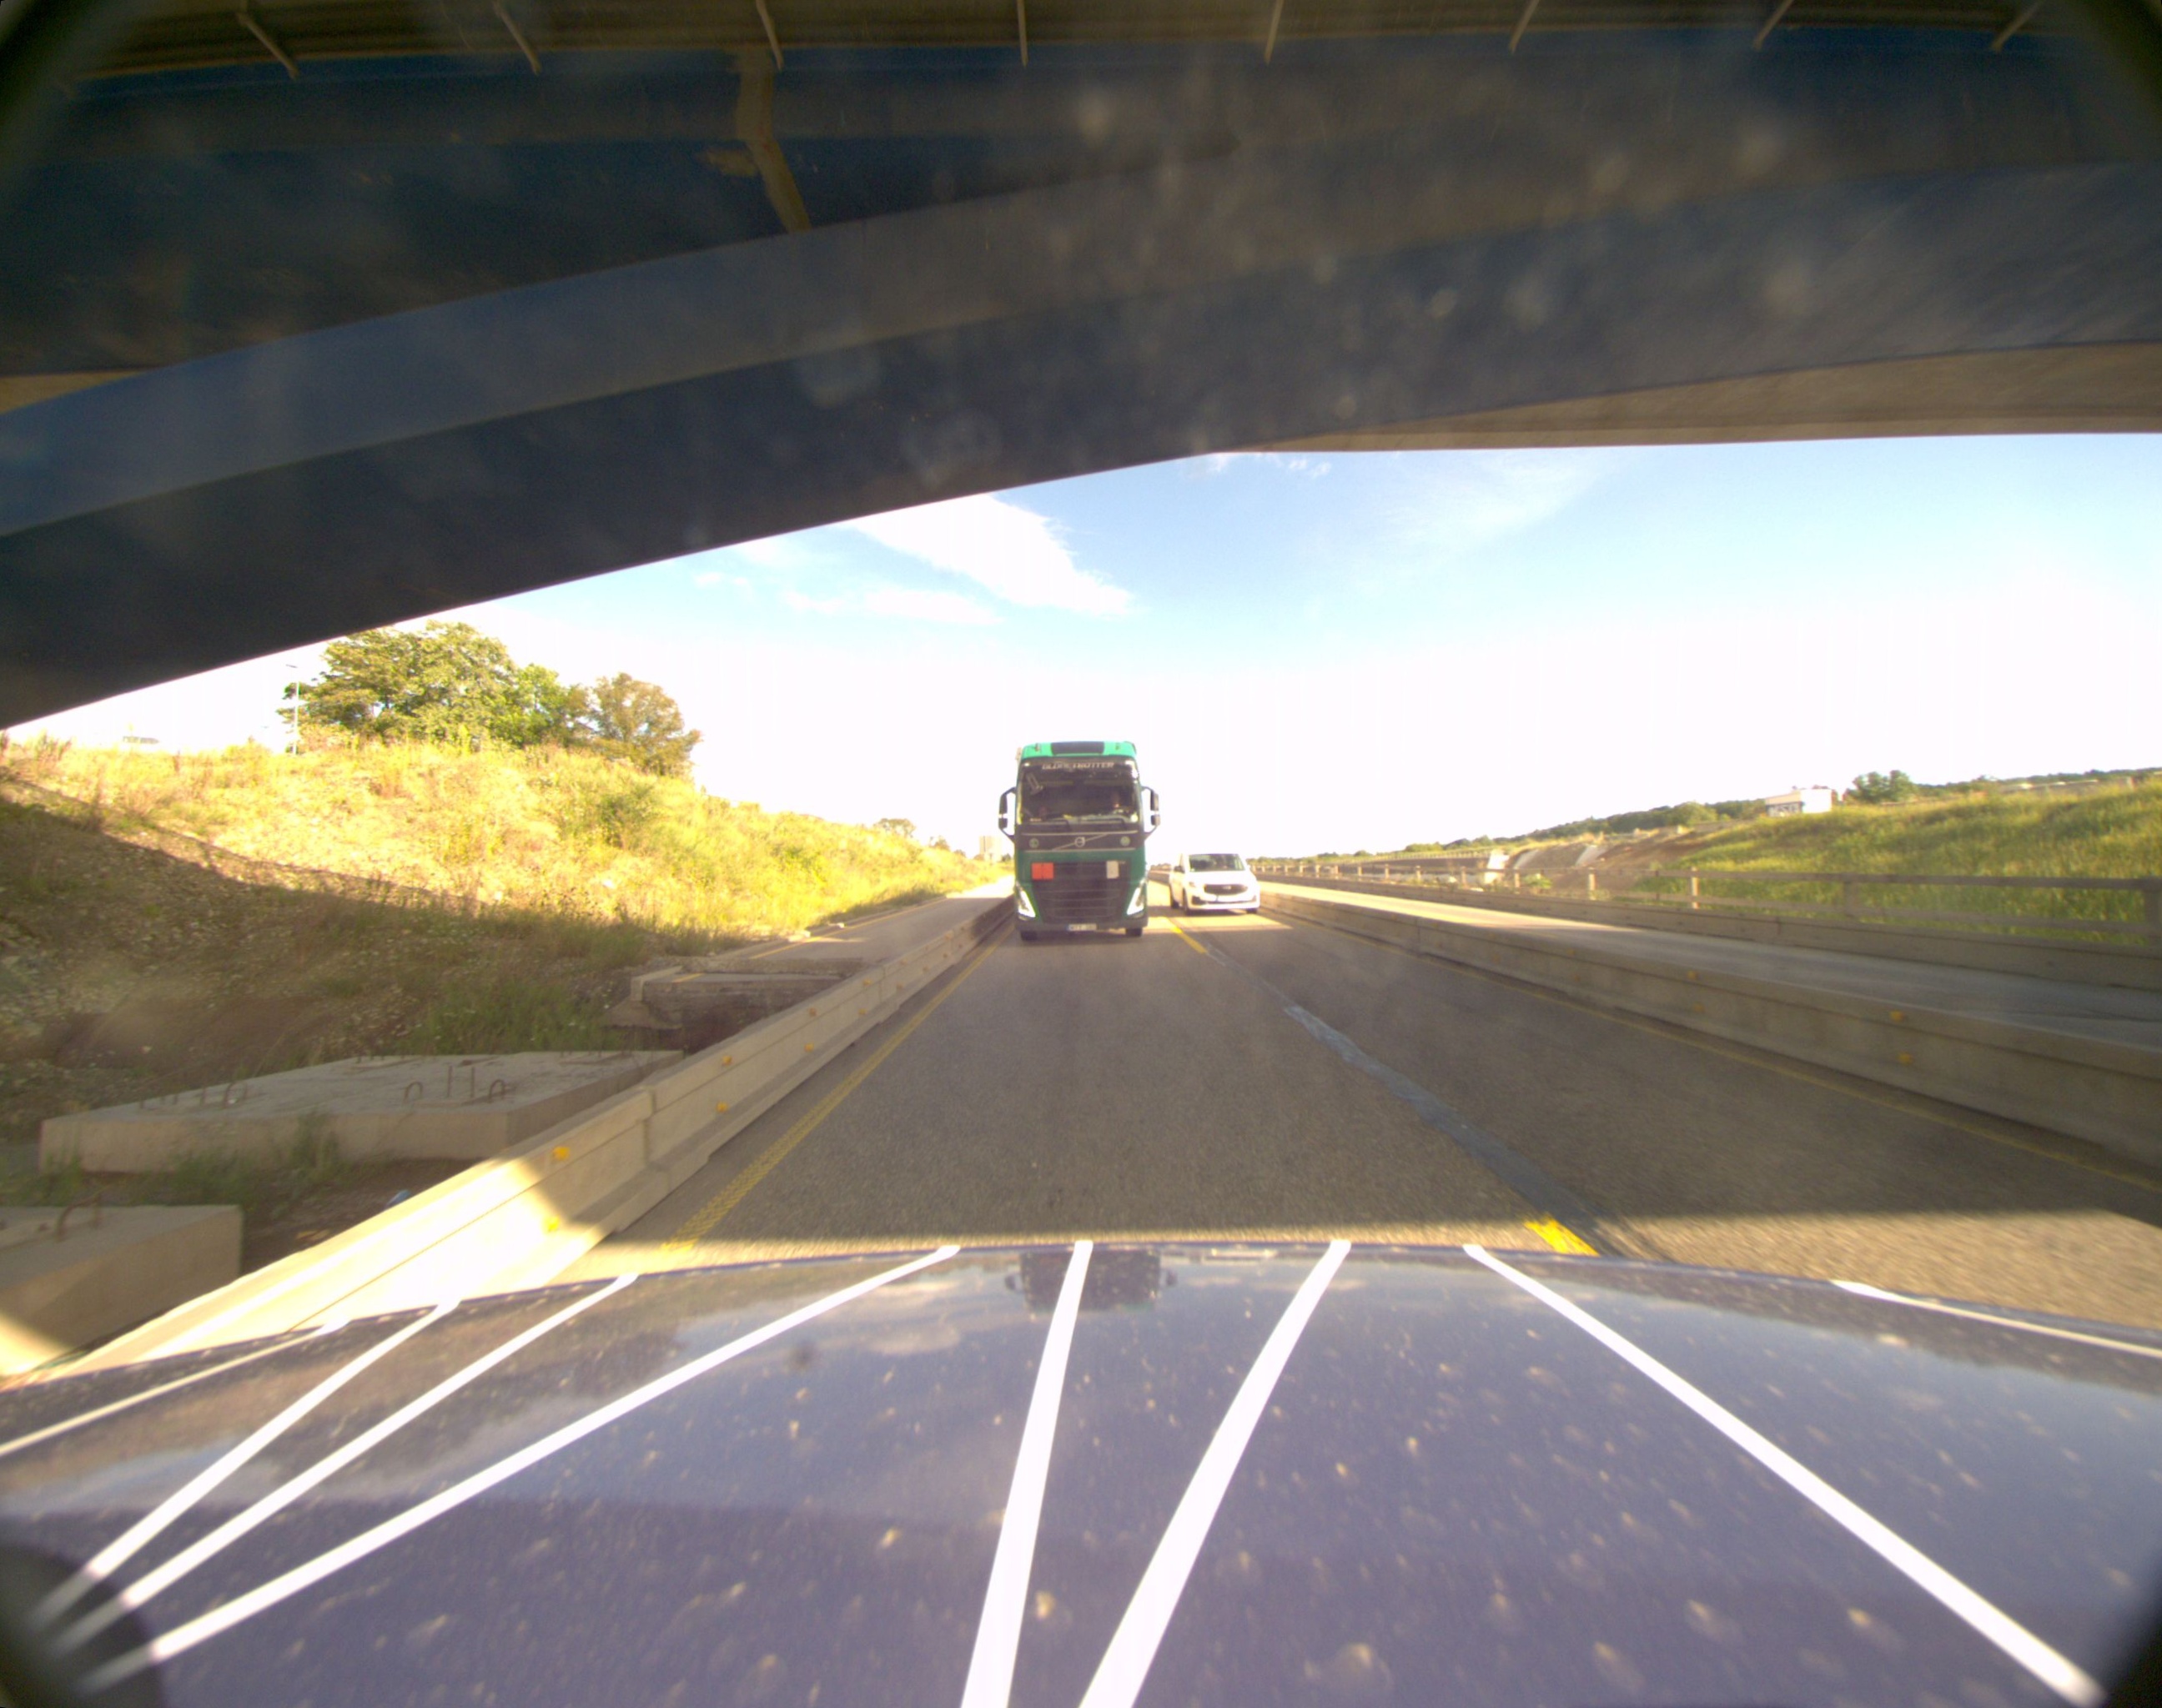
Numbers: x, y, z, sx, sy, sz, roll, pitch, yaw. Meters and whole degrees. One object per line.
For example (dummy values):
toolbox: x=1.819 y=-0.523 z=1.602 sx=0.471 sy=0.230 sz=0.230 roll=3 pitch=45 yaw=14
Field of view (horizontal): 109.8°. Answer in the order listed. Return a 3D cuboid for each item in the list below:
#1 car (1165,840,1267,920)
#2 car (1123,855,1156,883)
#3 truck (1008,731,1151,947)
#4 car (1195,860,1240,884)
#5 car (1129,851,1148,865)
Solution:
car: x=3.460 y=0.630 z=20.321 sx=1.828 sy=1.813 sz=4.456 roll=-3 pitch=0 yaw=-1
car: x=3.370 y=0.830 z=44.434 sx=1.719 sy=1.499 sz=4.000 roll=-2 pitch=0 yaw=2
truck: x=-0.075 y=-0.290 z=18.128 sx=2.546 sy=3.899 sz=8.278 roll=-1 pitch=0 yaw=-1
car: x=7.162 y=0.909 z=40.316 sx=1.672 sy=1.149 sz=4.218 roll=1 pitch=0 yaw=1
car: x=6.429 y=0.457 z=85.569 sx=1.828 sy=1.554 sz=4.218 roll=1 pitch=0 yaw=0
